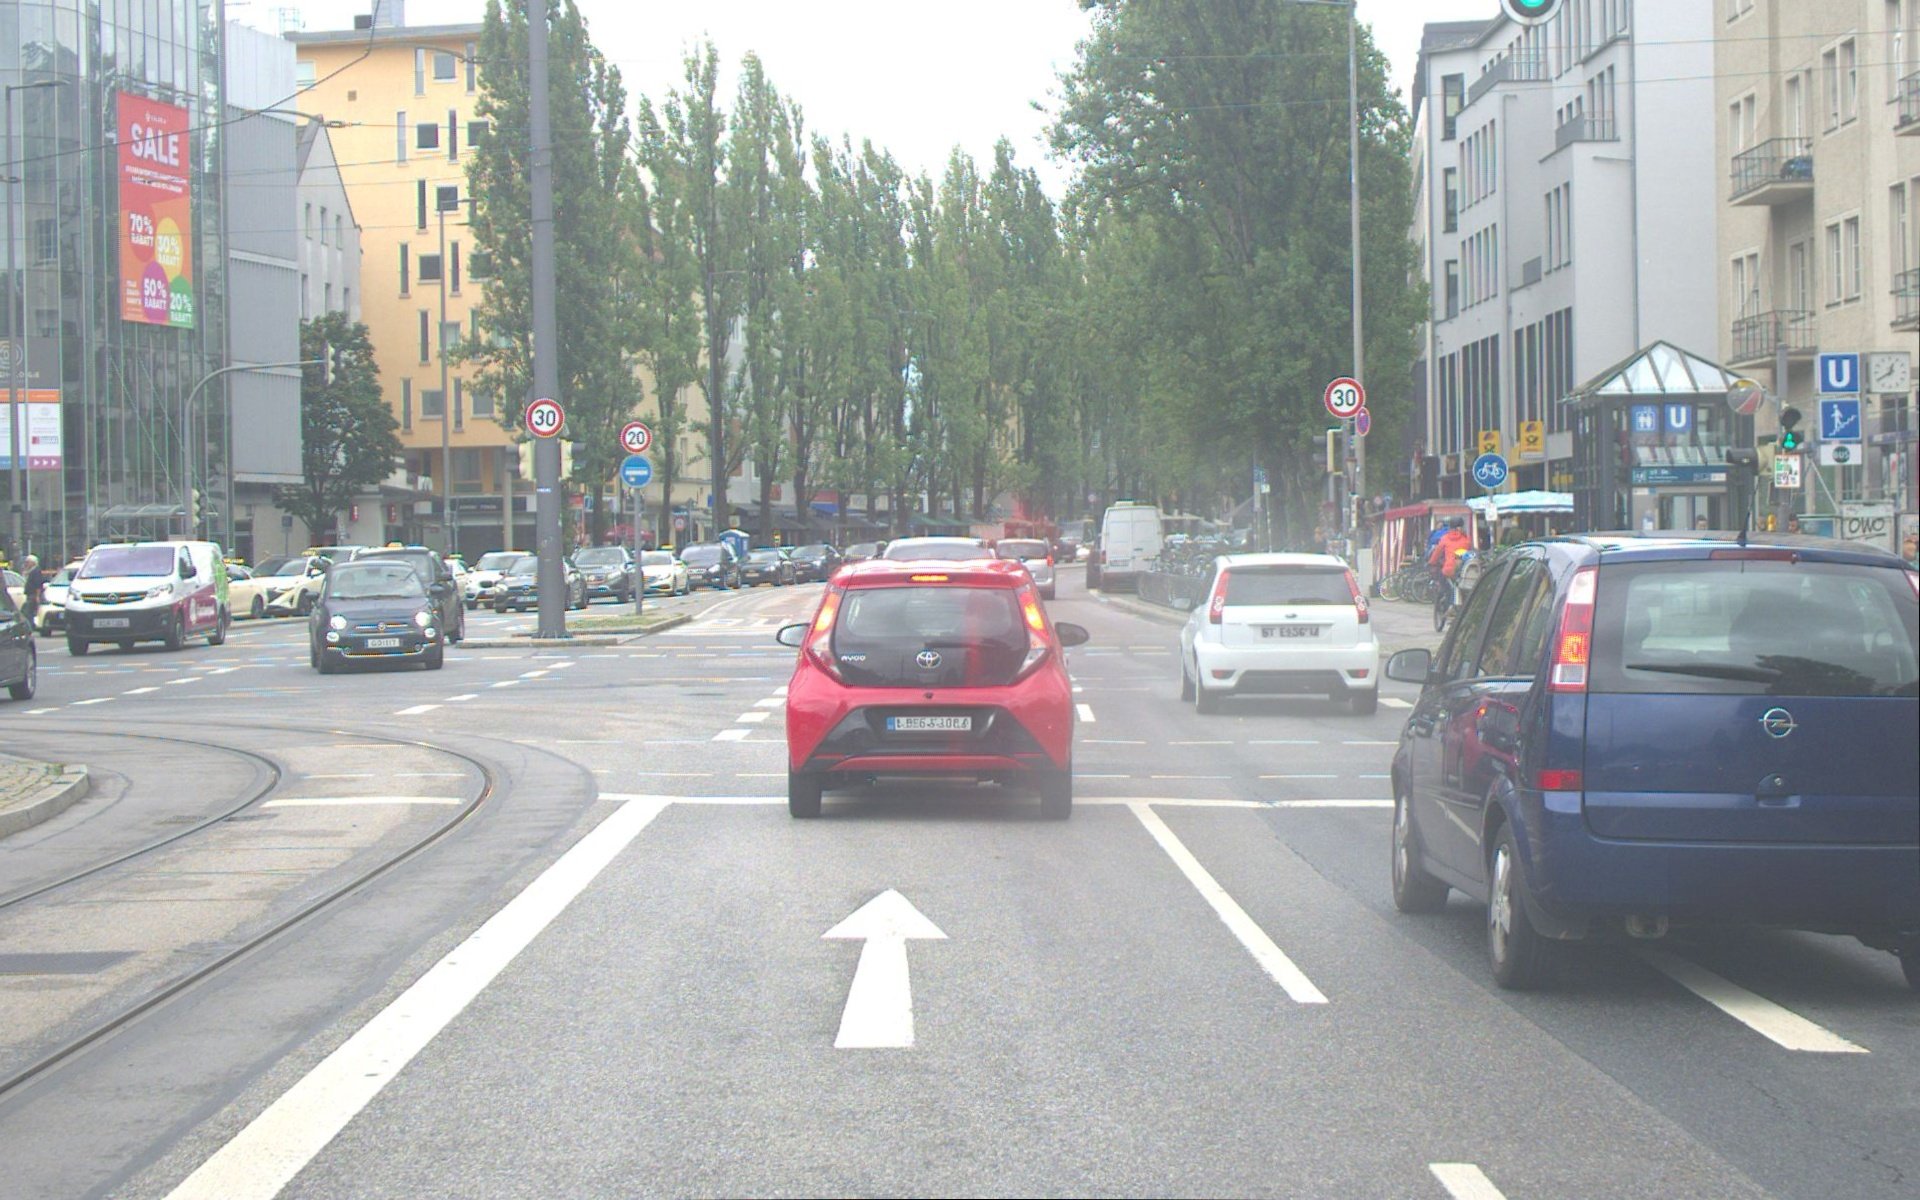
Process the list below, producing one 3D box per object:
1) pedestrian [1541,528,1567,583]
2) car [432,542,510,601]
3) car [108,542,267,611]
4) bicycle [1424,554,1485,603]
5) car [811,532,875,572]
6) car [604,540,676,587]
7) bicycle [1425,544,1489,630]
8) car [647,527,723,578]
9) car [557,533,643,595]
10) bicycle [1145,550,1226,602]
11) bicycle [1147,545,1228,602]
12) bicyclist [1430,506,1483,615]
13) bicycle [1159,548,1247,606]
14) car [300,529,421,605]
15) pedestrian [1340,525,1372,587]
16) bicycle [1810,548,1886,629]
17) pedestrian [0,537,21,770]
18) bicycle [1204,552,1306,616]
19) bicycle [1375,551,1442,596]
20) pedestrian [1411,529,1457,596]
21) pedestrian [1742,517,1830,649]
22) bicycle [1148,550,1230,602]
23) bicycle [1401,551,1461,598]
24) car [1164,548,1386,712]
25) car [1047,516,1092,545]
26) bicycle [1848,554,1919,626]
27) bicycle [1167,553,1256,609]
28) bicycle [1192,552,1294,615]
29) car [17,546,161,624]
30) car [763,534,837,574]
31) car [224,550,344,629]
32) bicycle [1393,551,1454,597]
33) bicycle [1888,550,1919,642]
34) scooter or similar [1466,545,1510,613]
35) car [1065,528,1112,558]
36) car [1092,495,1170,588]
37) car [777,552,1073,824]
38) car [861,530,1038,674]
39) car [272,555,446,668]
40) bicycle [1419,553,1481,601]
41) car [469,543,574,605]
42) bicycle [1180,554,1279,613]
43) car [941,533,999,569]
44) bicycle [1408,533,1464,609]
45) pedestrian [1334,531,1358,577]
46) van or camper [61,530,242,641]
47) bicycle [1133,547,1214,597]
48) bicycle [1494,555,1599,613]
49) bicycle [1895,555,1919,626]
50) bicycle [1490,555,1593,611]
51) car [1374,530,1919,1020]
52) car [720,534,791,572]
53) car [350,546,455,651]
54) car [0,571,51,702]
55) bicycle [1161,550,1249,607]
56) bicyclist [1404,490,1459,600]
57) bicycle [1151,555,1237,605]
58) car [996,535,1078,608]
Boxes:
[{"bbox_3d":[15.505,-1.163,89.720,0.574,1.397,0.580,-1,1,0],"label":"pedestrian"},{"bbox_3d":[-13.877,-0.828,97.722,1.698,1.590,4.000,-1,1,-1],"label":"car"},{"bbox_3d":[-17.986,-0.573,80.266,1.994,1.503,4.633,-1,1,10],"label":"car"},{"bbox_3d":[10.008,-0.440,69.639,1.181,0.960,0.369,-1,1,4],"label":"bicycle"},{"bbox_3d":[-5.008,-2.091,148.087,1.994,1.686,4.920,-1,1,7],"label":"car"},{"bbox_3d":[-10.046,-1.169,108.205,1.765,1.417,4.639,-1,1,0],"label":"car"},{"bbox_3d":[7.618,-0.214,52.798,0.614,1.260,2.520,-1,1,0],"label":"bicycle"},{"bbox_3d":[-9.510,-1.664,119.220,1.936,1.733,4.588,0,1,4],"label":"car"},{"bbox_3d":[-10.257,-1.057,98.253,1.743,1.664,4.732,-1,1,2],"label":"car"},{"bbox_3d":[5.016,-0.531,76.561,1.836,1.132,0.585,0,2,43],"label":"bicycle"},{"bbox_3d":[5.103,-0.594,77.227,1.836,1.237,0.585,0,2,43],"label":"bicycle"},{"bbox_3d":[7.615,-0.612,52.743,0.614,1.652,1.251,-1,1,0],"label":"bicyclist"},{"bbox_3d":[5.064,-0.476,71.660,1.836,1.193,0.585,0,2,43],"label":"bicycle"},{"bbox_3d":[-16.530,-0.939,95.068,1.994,2.007,5.522,-1,1,4],"label":"car"},{"bbox_3d":[11.183,-1.234,97.024,0.790,1.722,0.764,-1,1,0],"label":"pedestrian"},{"bbox_3d":[12.580,-0.174,48.740,0.566,1.104,1.866,-1,1,0],"label":"bicycle"},{"bbox_3d":[-6.908,0.376,23.964,0.521,1.613,0.463,0,1,43],"label":"pedestrian"},{"bbox_3d":[5.376,-0.291,62.607,1.802,1.154,0.486,0,1,30],"label":"bicycle"},{"bbox_3d":[9.913,-0.590,75.978,1.432,0.960,0.369,-1,1,6],"label":"bicycle"},{"bbox_3d":[10.931,-0.863,79.233,0.808,1.517,0.800,-1,1,-11],"label":"pedestrian"},{"bbox_3d":[10.748,-0.227,44.738,0.836,1.685,0.818,0,1,37],"label":"pedestrian"},{"bbox_3d":[5.038,-0.524,75.800,1.836,1.132,0.585,0,2,43],"label":"bicycle"},{"bbox_3d":[10.023,-0.545,73.200,1.224,0.960,0.369,-2,1,-22],"label":"bicycle"},{"bbox_3d":[2.900,0.239,32.272,1.699,1.421,3.497,-1,1,-1],"label":"car"},{"bbox_3d":[6.725,-4.255,210.858,1.994,1.686,4.411,-1,1,12],"label":"car"},{"bbox_3d":[13.082,-0.151,48.721,0.494,0.971,1.866,-1,1,0],"label":"bicycle"},{"bbox_3d":[5.085,-0.388,69.550,1.803,1.107,0.585,0,2,43],"label":"bicycle"},{"bbox_3d":[5.260,-0.307,63.984,1.803,1.154,0.651,0,1,36],"label":"bicycle"},{"bbox_3d":[-18.585,-0.351,73.540,1.901,1.537,4.393,-1,1,0],"label":"car"},{"bbox_3d":[-6.423,-1.864,138.517,1.994,1.529,4.586,-1,1,10],"label":"car"},{"bbox_3d":[-13.460,-0.236,68.654,1.664,1.503,4.282,-1,1,-2],"label":"car"},{"bbox_3d":[10.043,-0.564,74.488,1.261,0.960,0.369,-1,1,3],"label":"bicycle"},{"bbox_3d":[12.812,-0.075,44.287,1.568,1.156,0.525,-2,3,3],"label":"bicycle"},{"bbox_3d":[9.409,-0.374,61.221,0.301,1.172,1.275,-1,1,30],"label":"scooter or similar"},{"bbox_3d":[7.674,-3.413,204.880,1.994,1.686,4.411,-1,1,12],"label":"car"},{"bbox_3d":[5.141,-1.763,103.866,2.107,2.709,4.804,-1,1,1],"label":"car"},{"bbox_3d":[-0.175,0.460,20.325,1.605,1.456,3.130,1,1,1],"label":"car"},{"bbox_3d":[-0.148,-0.008,41.277,1.993,1.612,4.000,-1,1,-1],"label":"car"},{"bbox_3d":[-8.170,0.128,46.567,1.545,1.440,3.540,-1,1,-23],"label":"car"},{"bbox_3d":[10.000,-0.469,70.182,1.181,0.960,0.369,-1,1,-2],"label":"bicycle"},{"bbox_3d":[-11.090,-0.672,87.213,1.993,1.407,4.168,3,1,1],"label":"car"},{"bbox_3d":[5.171,-0.323,66.046,1.803,1.107,0.651,0,1,37],"label":"bicycle"},{"bbox_3d":[0.529,-2.423,169.711,1.995,1.722,3.915,-1,1,14],"label":"car"},{"bbox_3d":[8.131,-0.512,58.817,0.614,1.260,2.520,-1,1,0],"label":"bicycle"},{"bbox_3d":[13.247,-1.582,118.032,0.713,1.553,0.676,-1,1,0],"label":"pedestrian"},{"bbox_3d":[-13.997,-0.287,59.808,1.928,1.819,5.441,-1,1,-1],"label":"van or camper"},{"bbox_3d":[4.931,-0.640,79.487,1.836,1.132,0.585,0,1,36],"label":"bicycle"},{"bbox_3d":[10.300,-0.283,60.387,1.754,0.961,0.453,-1,1,1],"label":"bicycle"},{"bbox_3d":[13.761,-0.137,48.723,0.494,0.971,1.866,-1,1,0],"label":"bicycle"},{"bbox_3d":[10.333,-0.301,61.079,1.754,0.961,0.369,-1,1,1],"label":"bicycle"},{"bbox_3d":[2.648,0.540,13.009,1.703,1.584,3.556,1,1,0],"label":"car"},{"bbox_3d":[-7.735,-1.774,130.407,1.845,1.378,4.599,0,0,7],"label":"car"},{"bbox_3d":[-8.495,-0.049,52.394,1.503,1.529,2.838,-1,1,-9],"label":"car"},{"bbox_3d":[-11.483,0.418,38.194,1.842,1.412,4.035,-1,1,-3],"label":"car"},{"bbox_3d":[5.041,-0.444,70.878,1.836,1.164,0.585,0,2,43],"label":"bicycle"},{"bbox_3d":[8.100,-0.953,59.044,0.762,1.863,1.133,-1,1,0],"label":"bicyclist"},{"bbox_3d":[4.969,-0.432,73.069,1.836,1.048,0.585,0,2,43],"label":"bicycle"},{"bbox_3d":[1.995,-0.760,89.984,1.993,1.831,4.000,-1,1,0],"label":"car"}]
